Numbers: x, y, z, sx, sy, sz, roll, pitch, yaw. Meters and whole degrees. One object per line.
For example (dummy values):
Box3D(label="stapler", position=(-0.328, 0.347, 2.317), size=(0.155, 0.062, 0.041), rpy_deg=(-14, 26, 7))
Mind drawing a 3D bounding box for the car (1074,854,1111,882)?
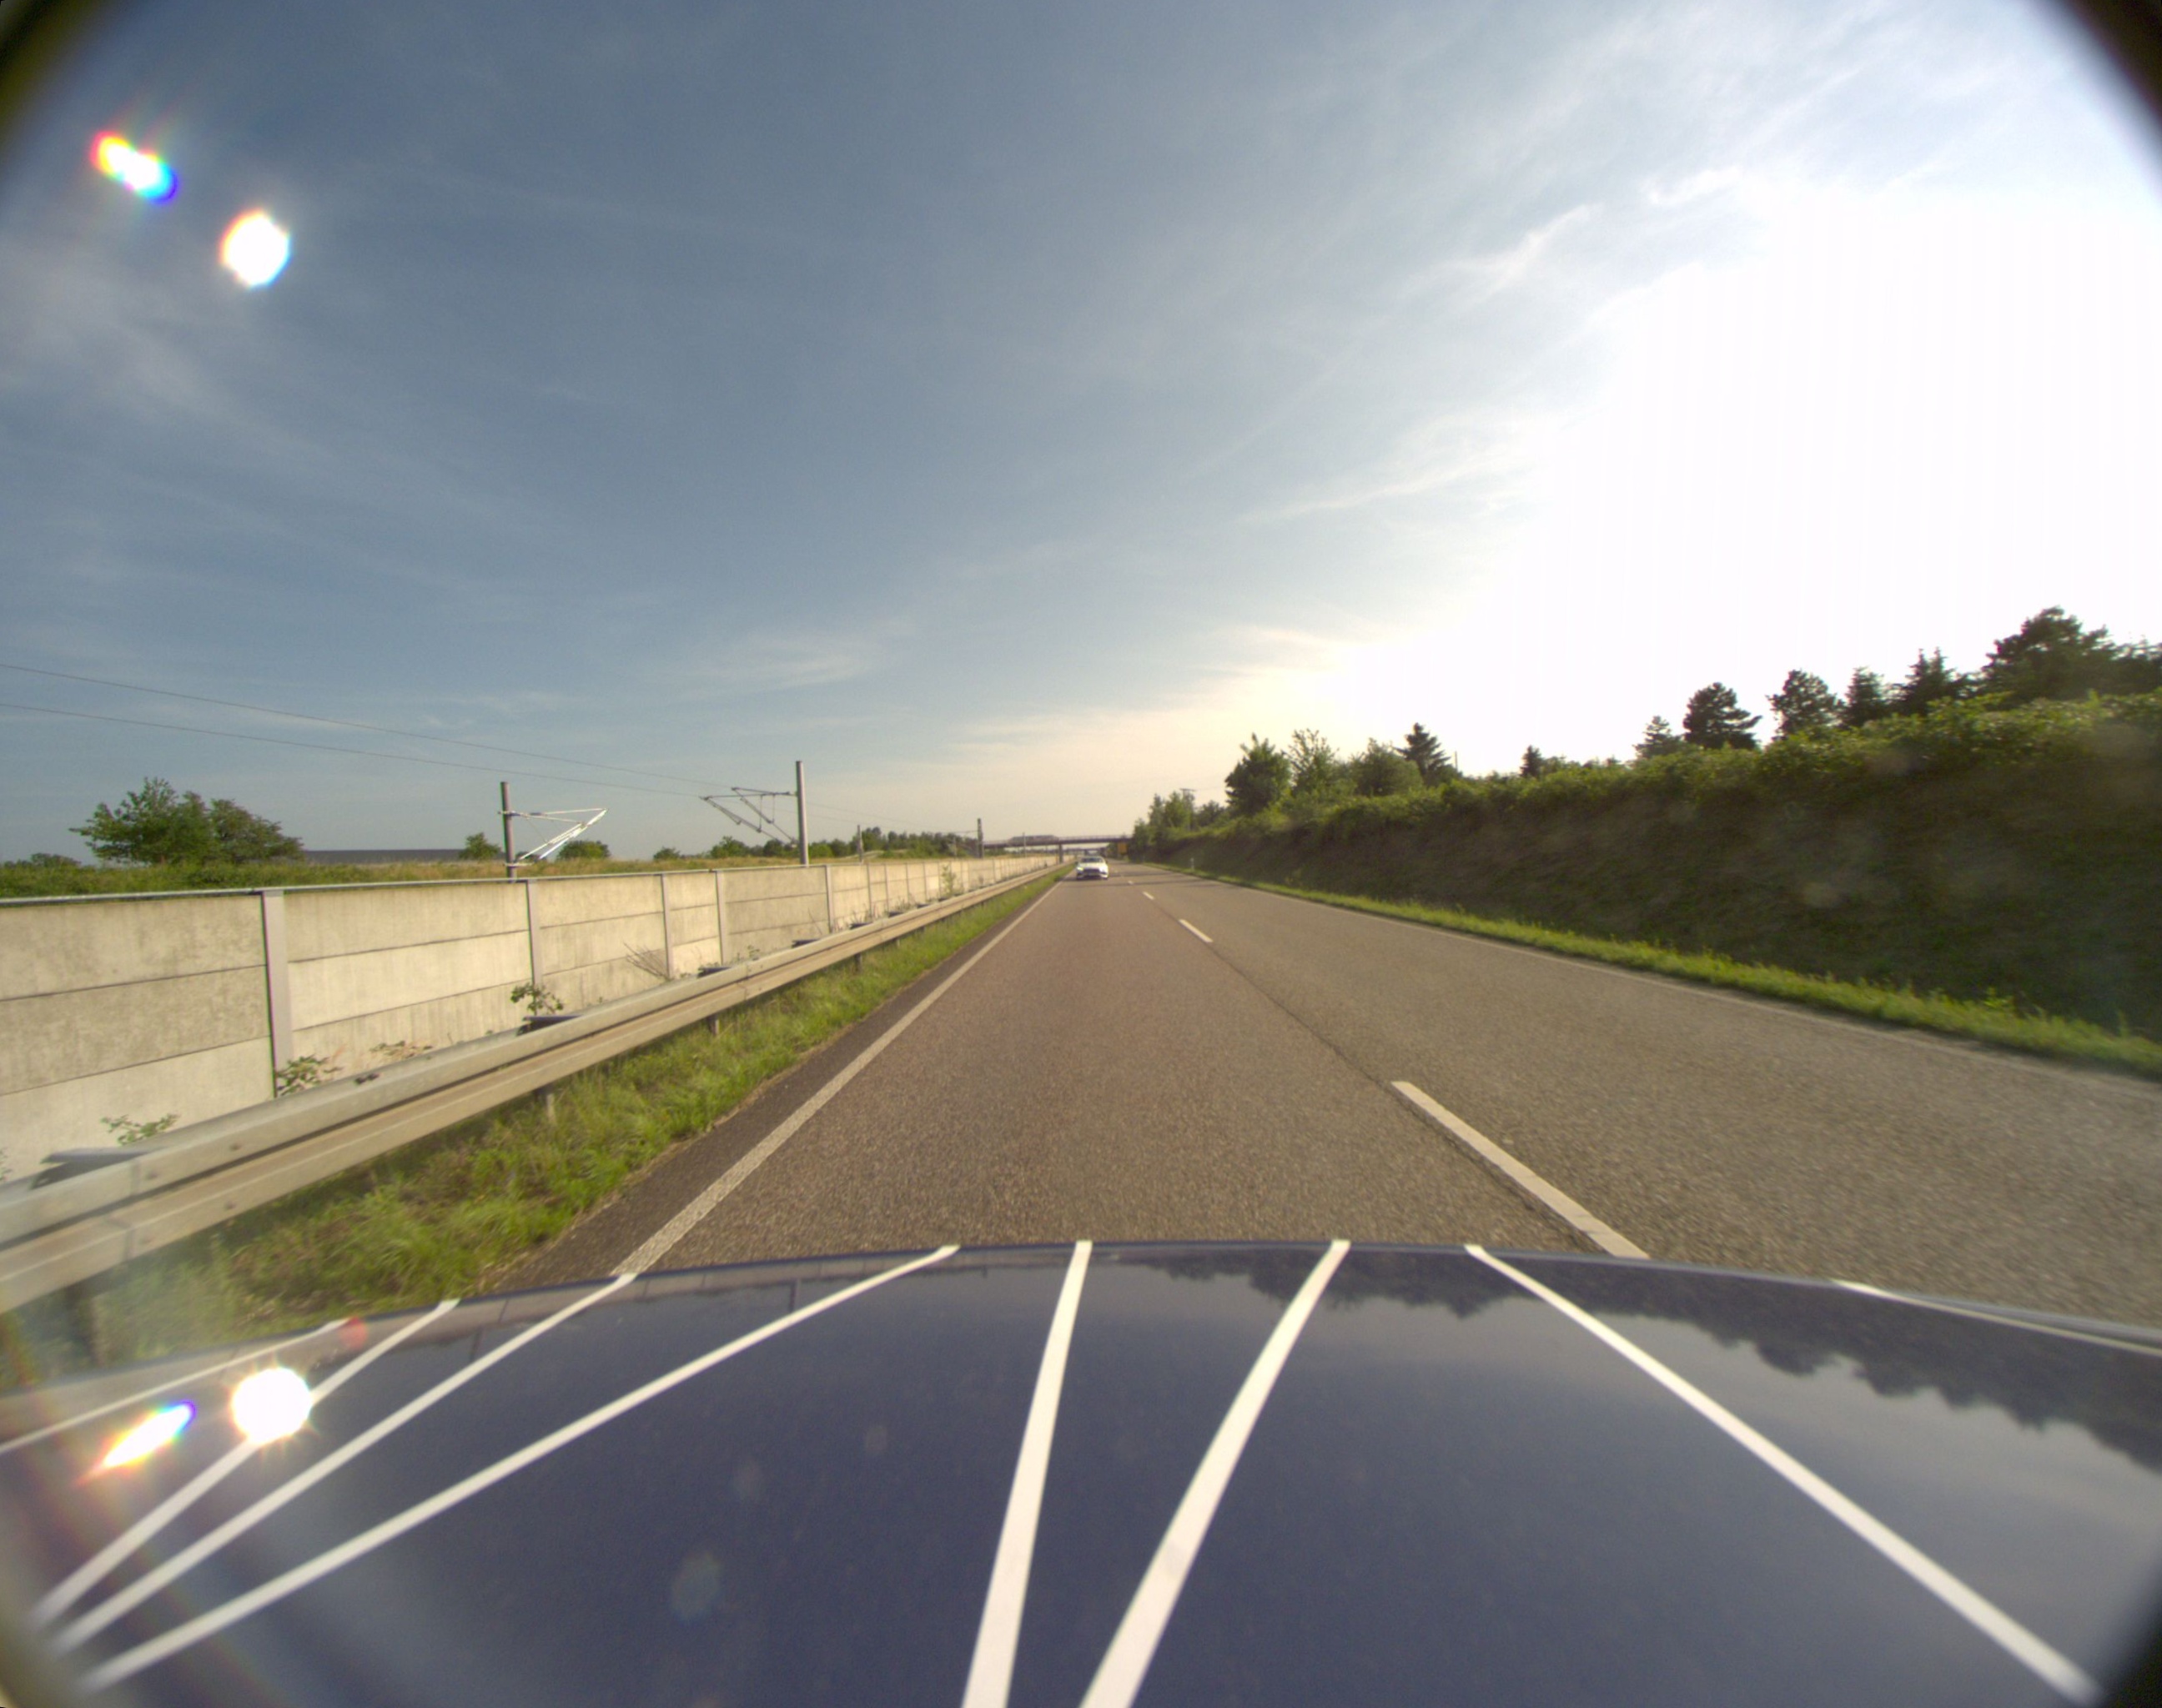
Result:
Box3D(label="car", position=(0.670, 0.765, 44.019), size=(1.952, 1.430, 4.612), rpy_deg=(-2, 0, 1))
